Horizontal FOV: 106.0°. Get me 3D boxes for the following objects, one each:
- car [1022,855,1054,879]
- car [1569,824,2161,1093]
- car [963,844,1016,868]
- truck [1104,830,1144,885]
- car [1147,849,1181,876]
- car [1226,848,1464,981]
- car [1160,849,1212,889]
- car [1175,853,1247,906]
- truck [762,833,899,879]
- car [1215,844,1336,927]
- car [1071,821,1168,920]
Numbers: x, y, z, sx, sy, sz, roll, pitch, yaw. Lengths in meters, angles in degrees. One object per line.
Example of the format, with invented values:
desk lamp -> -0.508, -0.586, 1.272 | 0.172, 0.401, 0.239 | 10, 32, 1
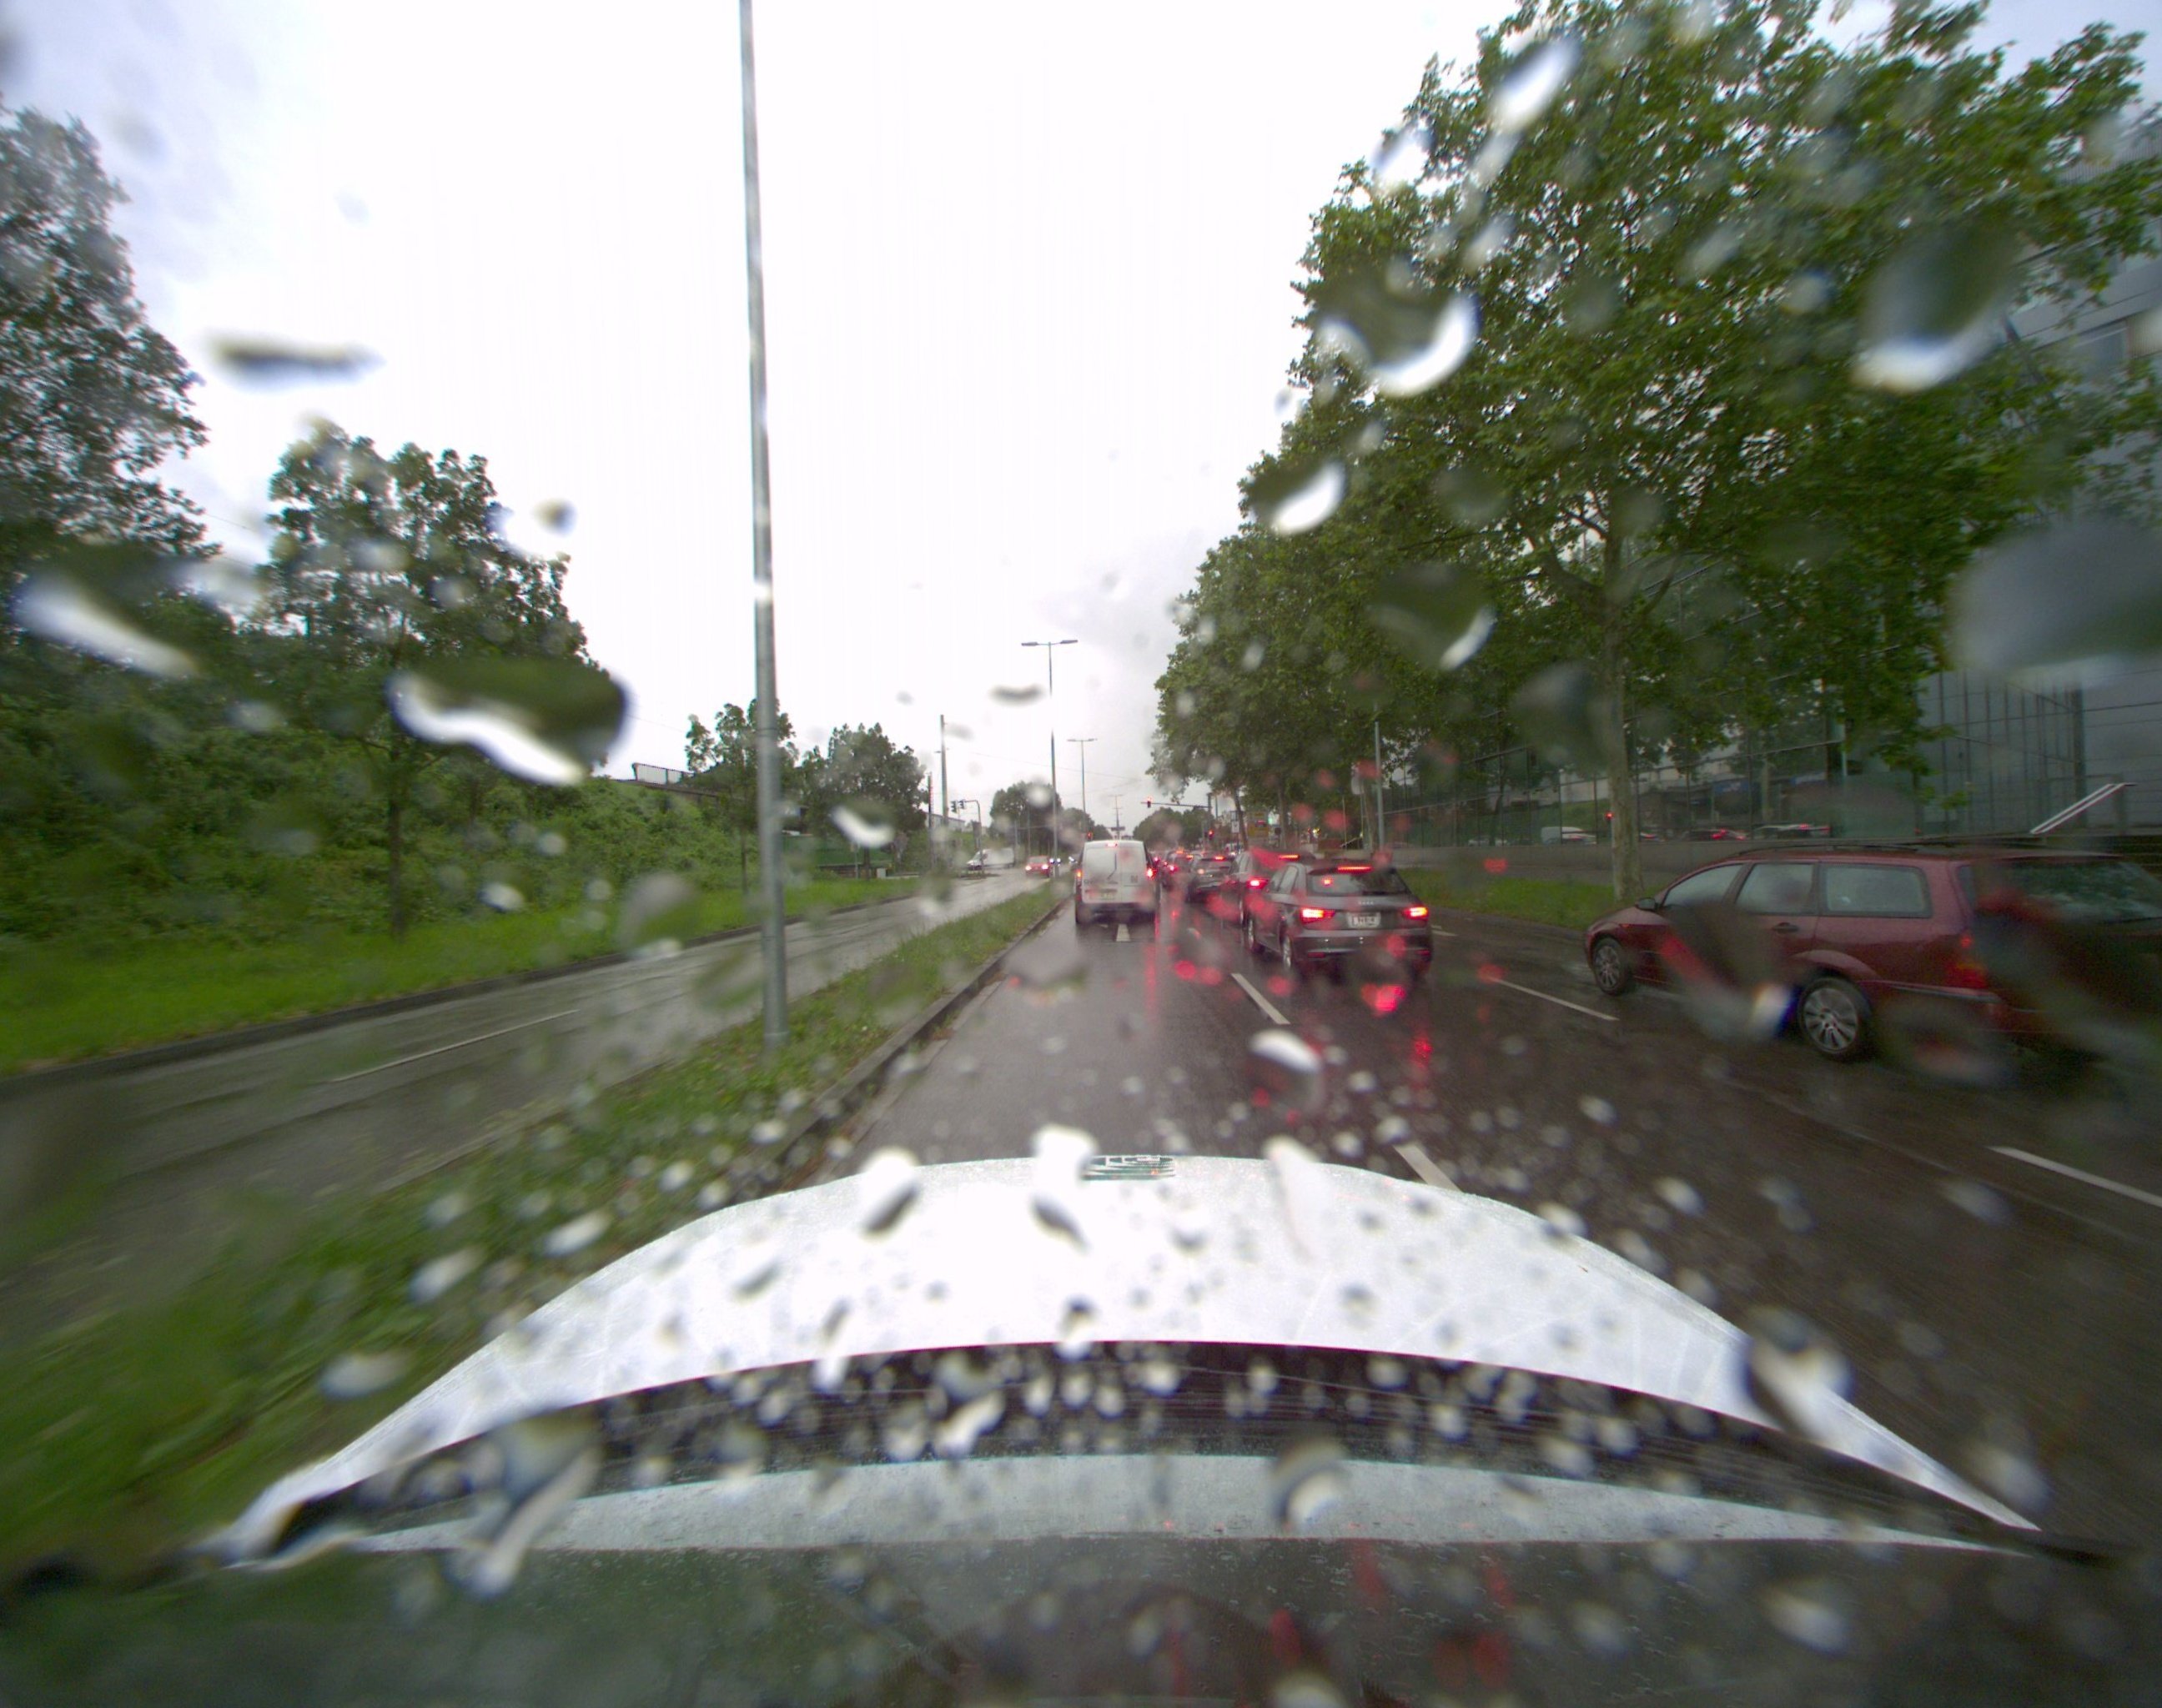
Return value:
car -> -2.943, 0.864, 56.605 | 1.708, 1.513, 3.617 | -4, 0, 3
car -> 6.149, 0.609, 6.744 | 1.832, 1.537, 4.113 | -1, 0, 1
car -> -10.789, 0.230, 96.368 | 6.044, 2.744, 1.979 | 0, -2, -34
truck -> 2.010, 0.183, 39.219 | 1.750, 2.466, 4.001 | -1, 0, 1
car -> 4.811, 0.454, 47.701 | 1.704, 1.445, 4.003 | -2, 0, 3
car -> 3.290, 0.678, 11.068 | 1.986, 1.452, 4.000 | -1, 0, 1
car -> 4.126, 0.543, 32.617 | 1.704, 1.445, 4.003 | -2, 0, 3
car -> 3.935, 0.718, 25.186 | 1.704, 1.445, 4.003 | -2, 0, 3
truck -> -19.818, 0.189, 64.929 | 10.182, 3.452, 2.630 | 0, -2, -35
car -> 4.055, 0.581, 17.633 | 1.702, 1.549, 4.001 | -1, 1, 1
car -> 0.843, 0.393, 18.959 | 1.986, 2.014, 4.000 | -1, -2, 1
